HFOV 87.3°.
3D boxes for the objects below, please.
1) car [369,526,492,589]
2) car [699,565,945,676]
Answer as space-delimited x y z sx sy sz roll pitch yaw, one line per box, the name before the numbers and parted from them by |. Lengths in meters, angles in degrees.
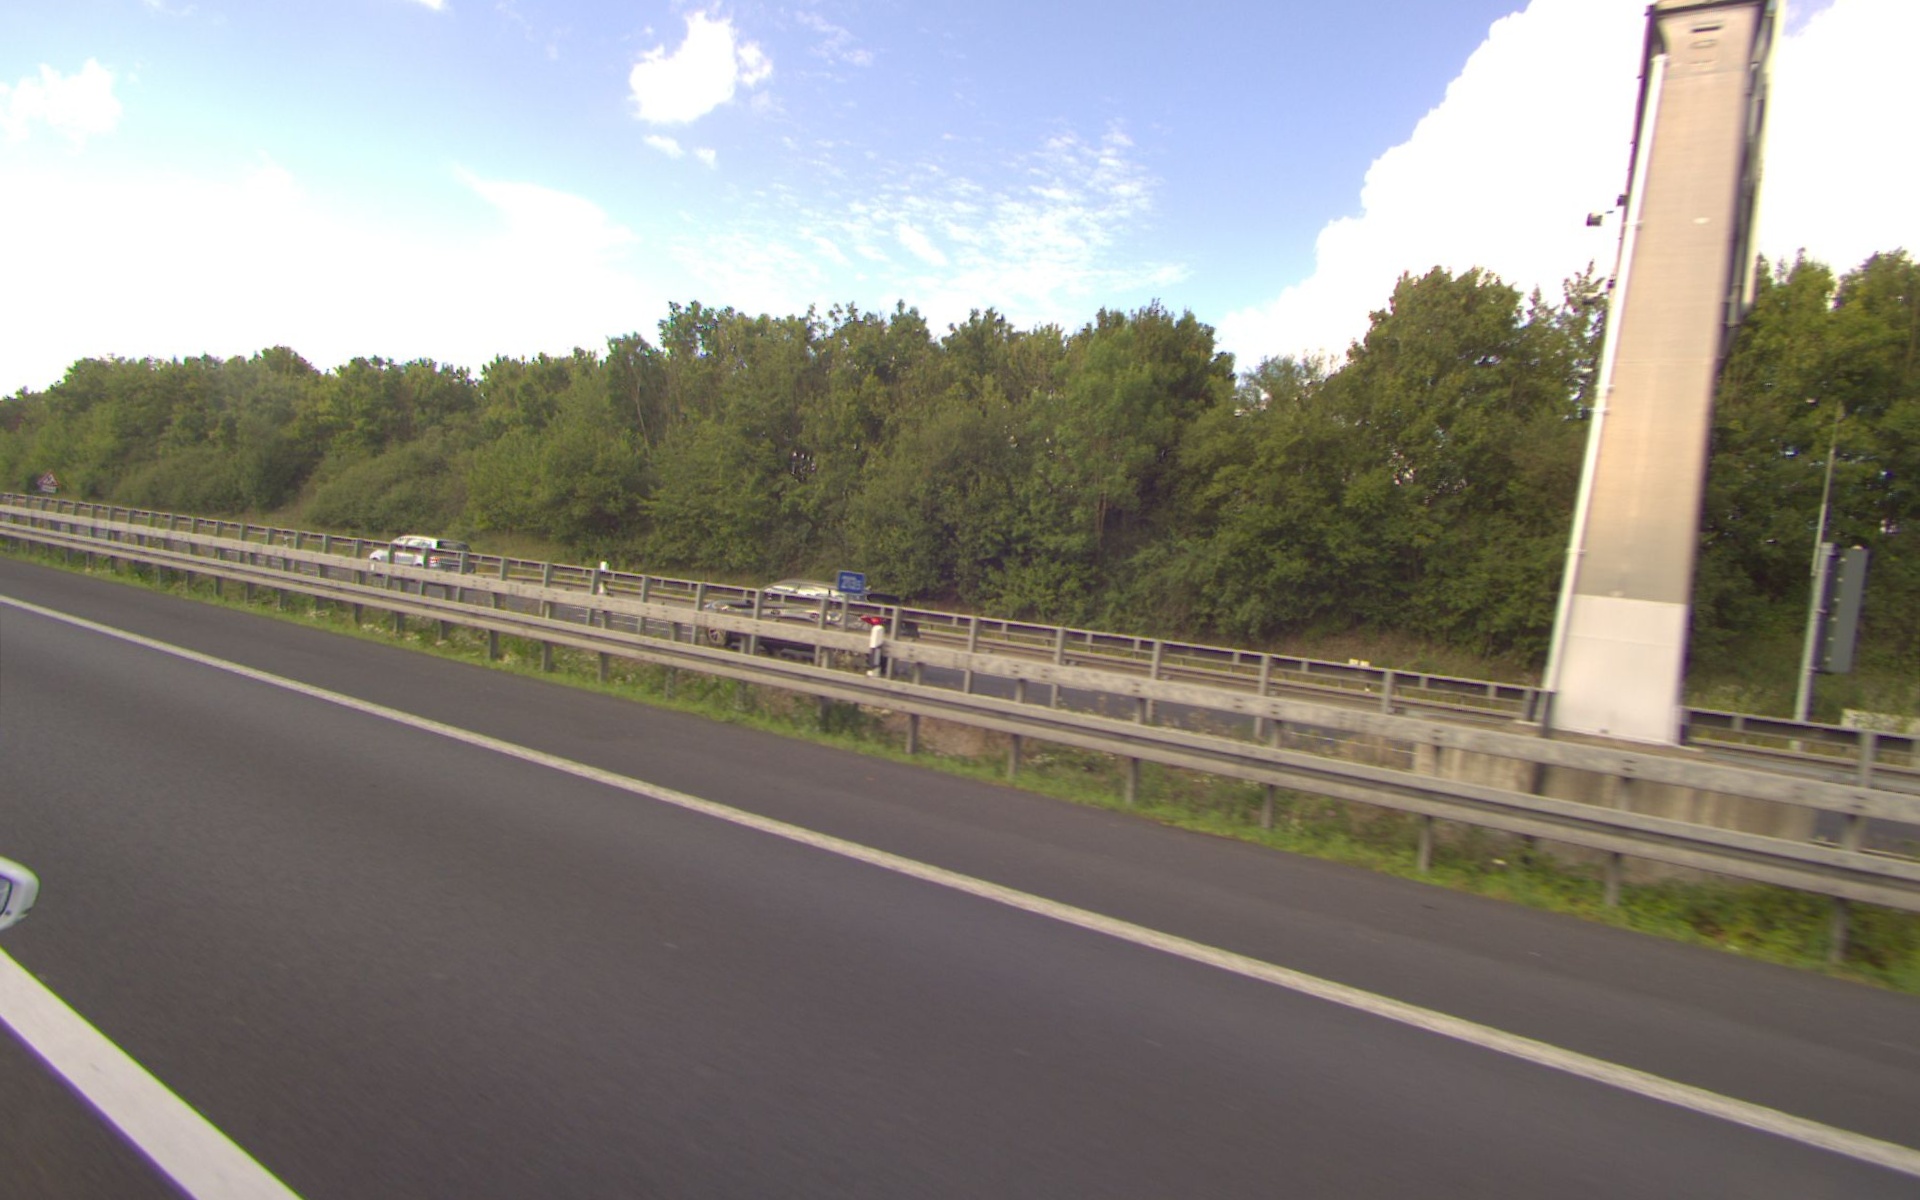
car | -18.563 -1.498 35.246 3.934 1.730 1.995 7 1 32
car | -2.536 0.366 18.331 3.933 1.502 1.996 7 0 31
